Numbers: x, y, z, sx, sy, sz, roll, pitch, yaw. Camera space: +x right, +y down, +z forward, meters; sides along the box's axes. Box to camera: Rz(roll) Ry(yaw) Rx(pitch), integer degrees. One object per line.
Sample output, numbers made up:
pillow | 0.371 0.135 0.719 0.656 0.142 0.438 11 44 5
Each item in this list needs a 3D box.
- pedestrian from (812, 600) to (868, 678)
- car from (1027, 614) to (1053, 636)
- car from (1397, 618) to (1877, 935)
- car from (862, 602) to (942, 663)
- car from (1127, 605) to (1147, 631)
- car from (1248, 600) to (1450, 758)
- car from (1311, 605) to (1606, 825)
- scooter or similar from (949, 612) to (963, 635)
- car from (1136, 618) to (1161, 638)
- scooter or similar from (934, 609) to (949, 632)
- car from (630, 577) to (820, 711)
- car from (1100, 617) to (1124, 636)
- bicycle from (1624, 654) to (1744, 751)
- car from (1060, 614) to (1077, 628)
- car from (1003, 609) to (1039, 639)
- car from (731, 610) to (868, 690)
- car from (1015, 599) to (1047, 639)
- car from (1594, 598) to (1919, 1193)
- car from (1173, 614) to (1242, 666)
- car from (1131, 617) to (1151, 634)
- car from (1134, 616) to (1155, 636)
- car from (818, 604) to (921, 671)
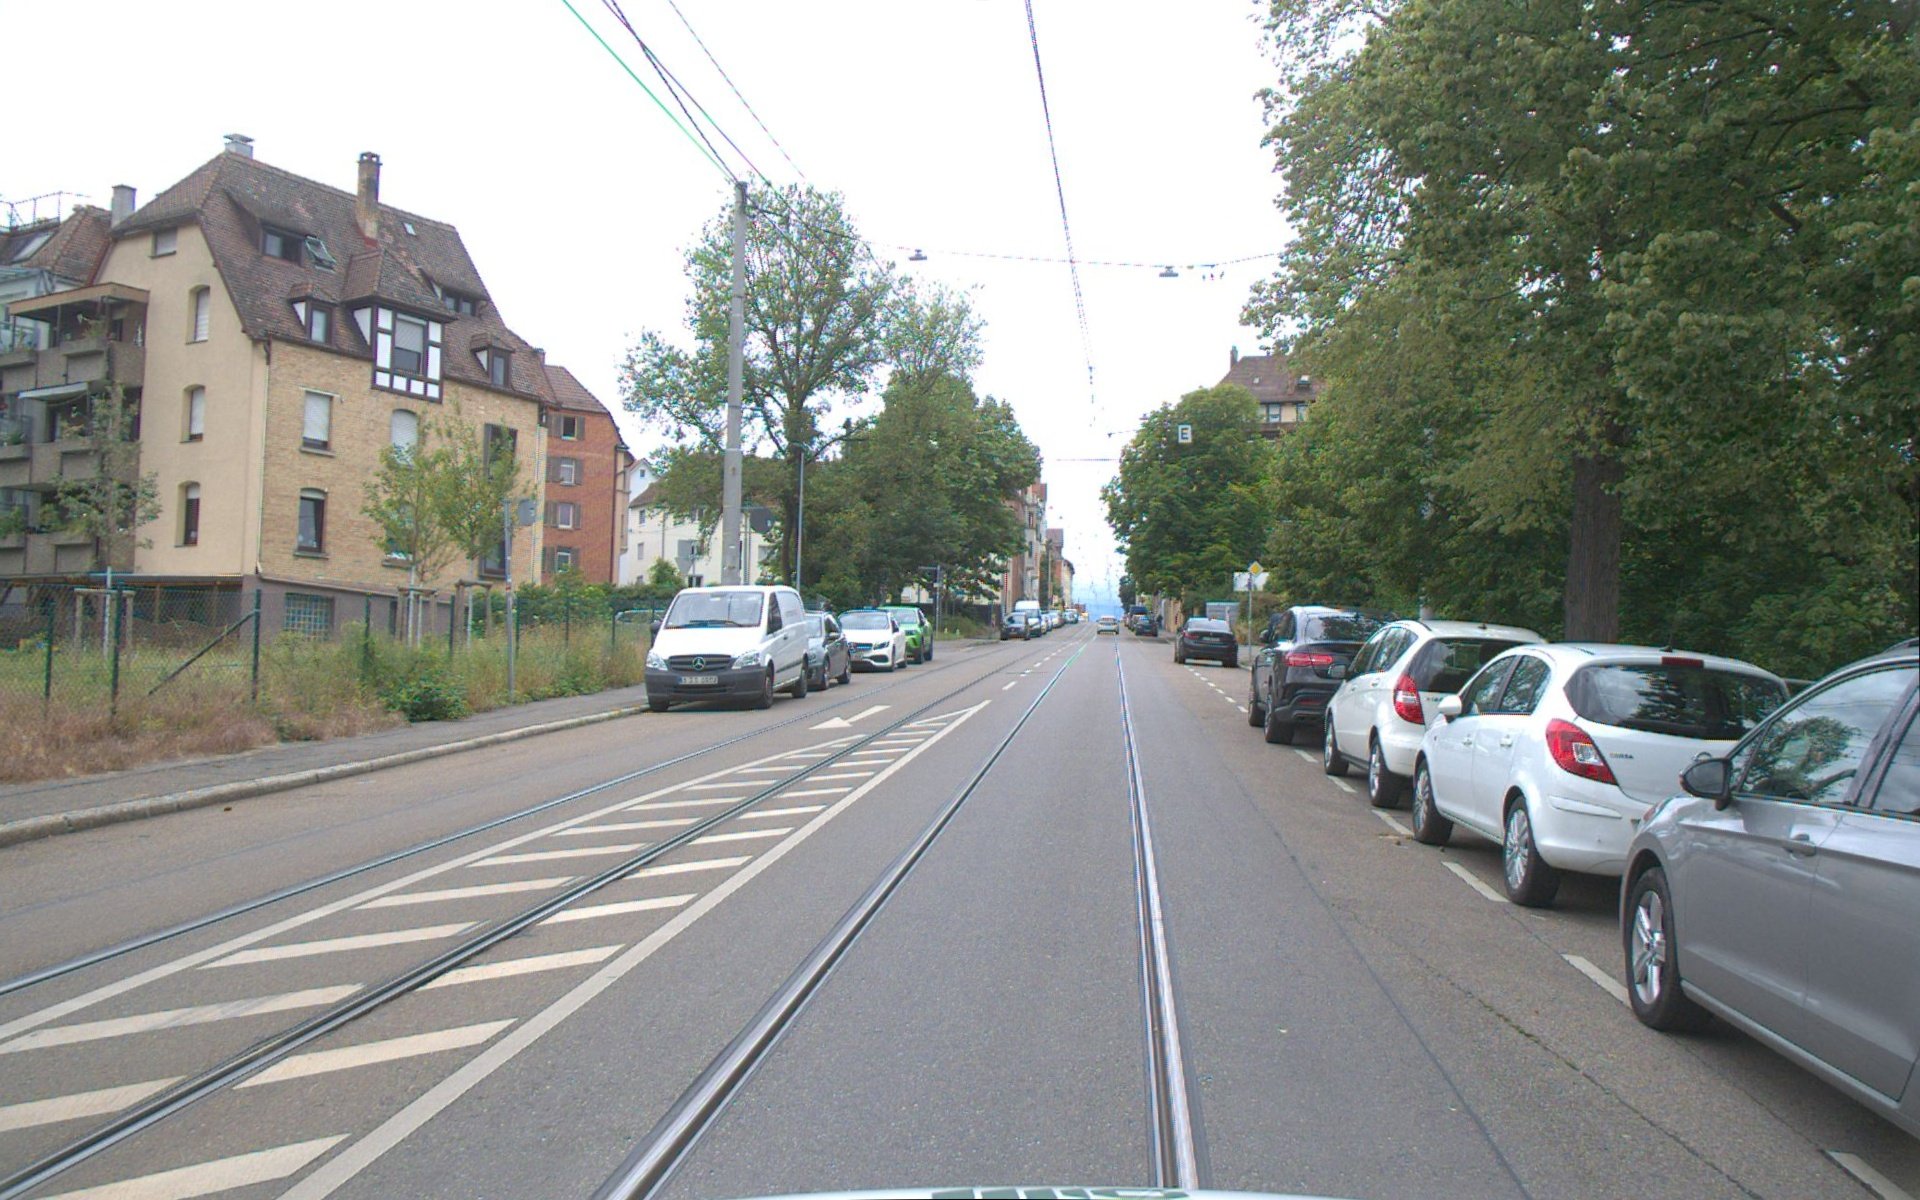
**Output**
pedestrian | -2.596 0.840 35.766 0.799 1.657 0.904 3 -2 -38
car | 6.353 2.014 131.314 1.952 1.628 4.313 2 -1 3
car | 4.094 0.946 10.741 1.595 1.543 4.066 4 0 4
car | -1.571 0.884 46.083 1.687 1.607 4.183 0 -1 6
car | 18.520 1.900 173.281 1.951 2.620 4.707 1 -1 6
car | 4.914 0.929 21.560 1.838 1.707 5.066 3 0 6
car | 4.518 0.954 15.616 1.690 1.659 4.090 5 0 4
scooter or similar | -0.240 1.469 102.389 0.676 1.362 1.640 2 -1 6
car | 15.382 2.266 134.702 1.951 1.557 4.315 2 -1 7
scooter or similar | -1.137 1.262 102.432 0.676 1.362 1.640 2 -1 6
car | -3.649 0.699 26.605 1.993 1.914 4.887 -1 -1 4
car | 12.689 2.226 138.147 1.951 1.525 4.314 2 -1 5
bicycle | 8.061 1.123 18.488 0.418 0.993 1.793 2 -1 -4
car | 13.431 2.596 204.064 1.951 1.629 4.002 2 -1 5
car | 3.959 1.570 106.612 1.951 1.840 4.002 2 -1 7
car | -3.066 0.929 32.530 1.856 1.458 4.514 0 0 5
car | 5.245 1.413 121.062 2.184 2.813 5.801 2 -1 3
car | 3.527 0.832 5.212 1.697 1.603 4.367 2 -1 5
car | 7.713 1.234 51.893 1.789 1.455 4.850 3 -1 5
car | 18.316 2.557 167.751 1.951 1.680 4.002 1 -1 6
car | 17.278 2.437 155.098 1.951 1.747 4.002 1 -1 6
car | -2.147 0.901 40.597 1.845 1.553 4.666 0 -1 5
